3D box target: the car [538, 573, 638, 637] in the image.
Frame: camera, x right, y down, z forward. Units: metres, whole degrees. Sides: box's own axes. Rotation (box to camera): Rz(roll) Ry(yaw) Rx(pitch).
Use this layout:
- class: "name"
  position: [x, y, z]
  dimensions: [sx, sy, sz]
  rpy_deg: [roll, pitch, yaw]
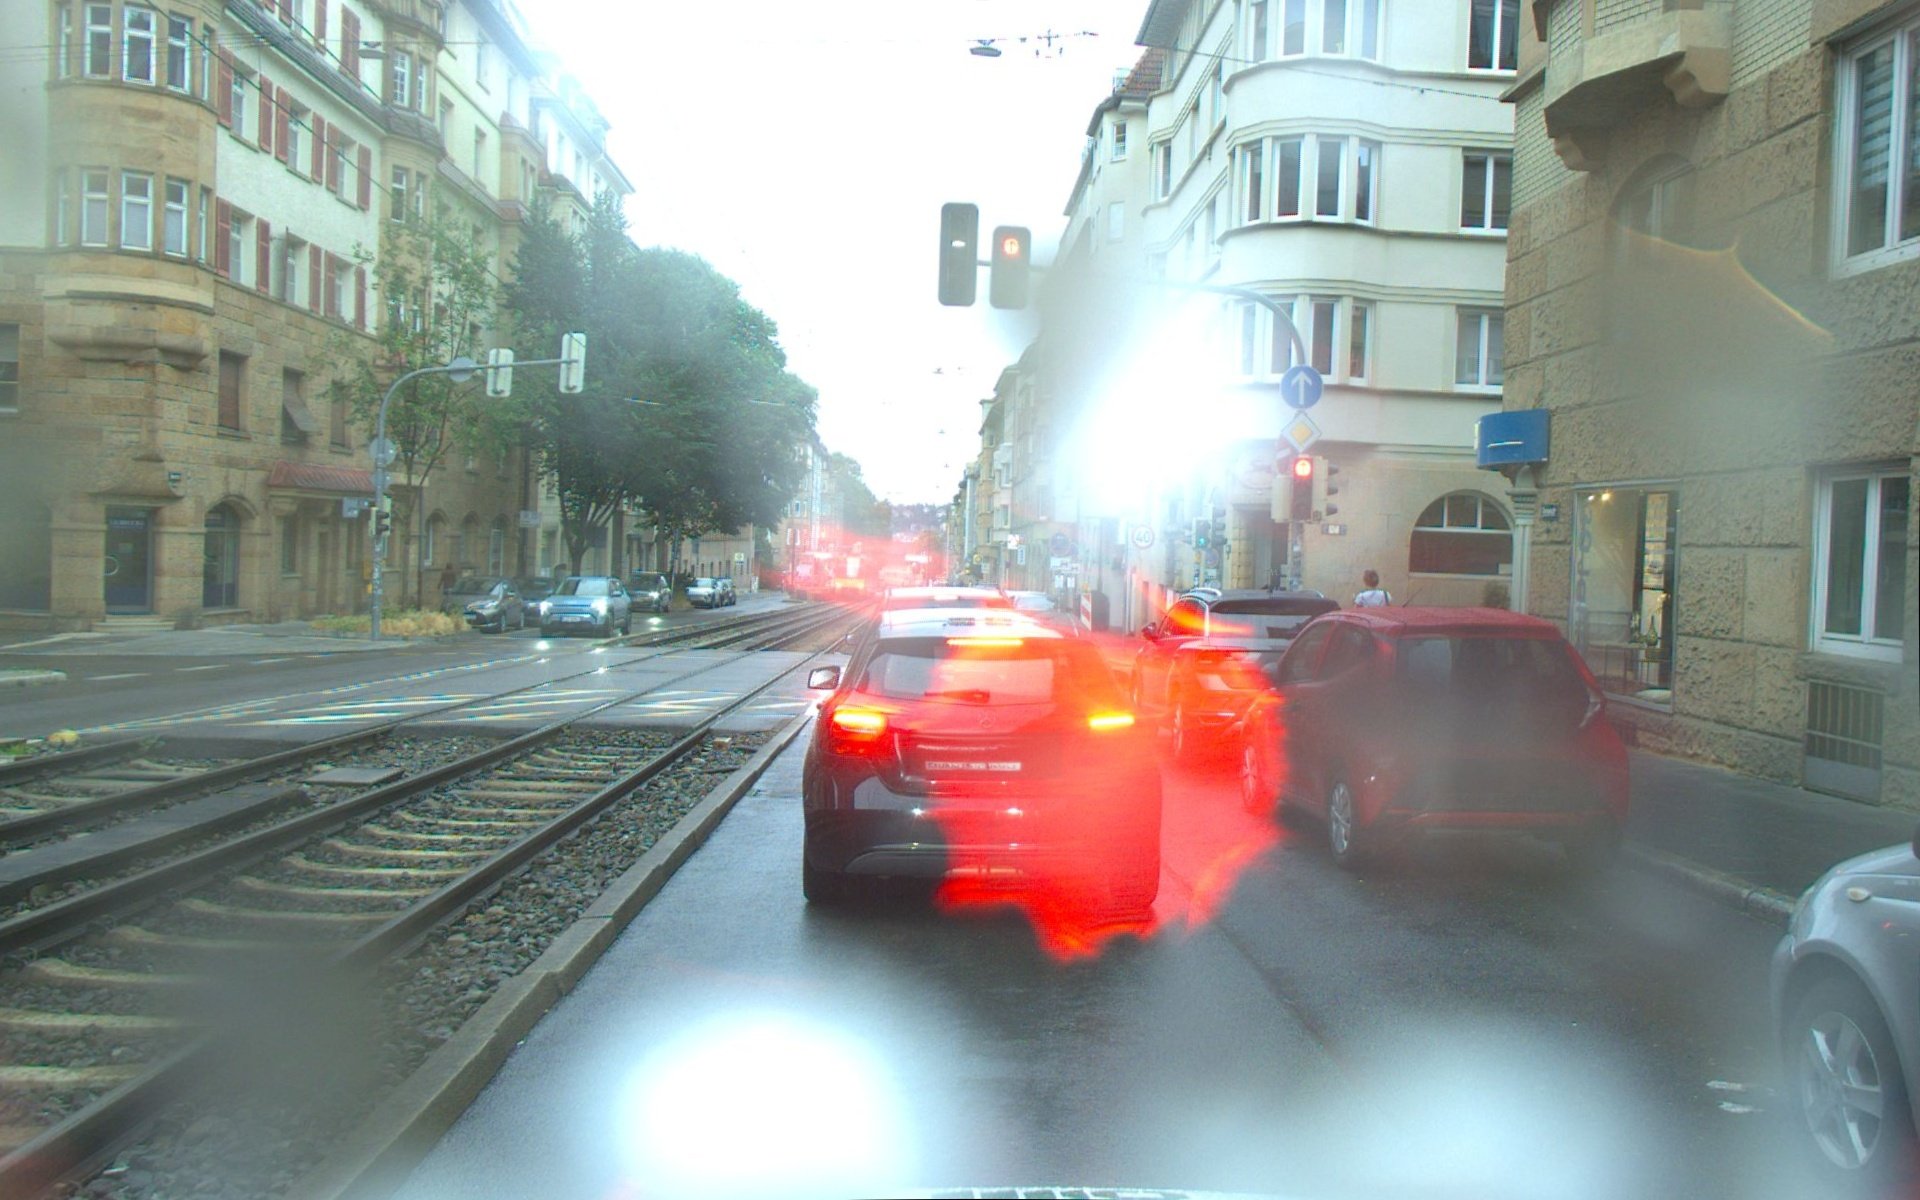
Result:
- class: "car"
  position: [-10.046, 0.143, 44.927]
  dimensions: [1.860, 1.615, 3.972]
  rpy_deg: [1, 0, -1]

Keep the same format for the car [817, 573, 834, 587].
- class: "car"
  position: [-12.218, -1.823, 150.643]
  dimensions: [1.349, 1.271, 3.296]
  rpy_deg: [1, 0, -2]

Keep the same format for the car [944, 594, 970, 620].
- class: "car"
  position: [-0.180, 0.425, 109.172]
  dimensions: [1.512, 1.664, 3.687]
  rpy_deg: [1, 0, 2]

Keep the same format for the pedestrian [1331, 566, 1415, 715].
- class: "pedestrian"
  position: [5.076, 0.485, 20.380]
  dimensions: [0.726, 1.778, 1.111]
  rpy_deg: [1, -1, -1]

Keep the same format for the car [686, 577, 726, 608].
- class: "car"
  position: [-13.653, -0.395, 88.966]
  dimensions: [1.557, 1.608, 3.917]
  rpy_deg: [1, 0, -1]

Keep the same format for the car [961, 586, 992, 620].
- class: "car"
  position: [0.726, 0.120, 73.606]
  dimensions: [1.268, 1.467, 2.928]
  rpy_deg: [1, 0, -1]

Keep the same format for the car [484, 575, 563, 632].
- class: "car"
  position: [-13.274, 0.107, 50.522]
  dimensions: [1.683, 1.639, 3.914]
  rpy_deg: [1, 0, -5]

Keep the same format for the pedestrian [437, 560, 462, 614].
- class: "pedestrian"
  position: [-16.099, -0.409, 52.202]
  dimensions: [0.619, 1.702, 0.701]
  rpy_deg: [1, -1, -9]

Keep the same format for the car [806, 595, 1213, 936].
- class: "car"
  position: [0.192, 0.738, 9.451]
  dimensions: [1.792, 1.483, 4.103]
  rpy_deg: [1, 0, -1]

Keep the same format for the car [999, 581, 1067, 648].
- class: "car"
  position: [1.840, 0.346, 42.666]
  dimensions: [1.513, 1.618, 3.547]
  rpy_deg: [1, 0, -1]

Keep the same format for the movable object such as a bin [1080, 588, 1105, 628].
- class: "movable object such as a bin"
  position: [4.766, 0.293, 59.643]
  dimensions: [0.859, 1.413, 0.983]
  rpy_deg: [1, -1, 3]

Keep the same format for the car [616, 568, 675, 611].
- class: "car"
  position: [-13.559, -0.419, 71.505]
  dimensions: [1.837, 1.767, 3.917]
  rpy_deg: [1, 0, -1]

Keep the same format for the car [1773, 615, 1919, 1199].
- class: "car"
  position: [3.124, 0.794, 3.101]
  dimensions: [1.581, 1.493, 3.312]
  rpy_deg: [0, 0, 0]

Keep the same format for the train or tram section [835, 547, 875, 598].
- class: "train or tram section"
  position: [-8.681, -2.216, 137.526]
  dimensions: [2.726, 3.928, 10.427]
  rpy_deg: [1, 0, -1]

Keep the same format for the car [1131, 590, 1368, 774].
- class: "car"
  position: [2.632, 0.680, 15.796]
  dimensions: [1.513, 1.512, 3.829]
  rpy_deg: [1, 0, -1]

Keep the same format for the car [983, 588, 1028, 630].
- class: "car"
  position: [1.666, 0.317, 61.548]
  dimensions: [1.513, 1.512, 3.547]
  rpy_deg: [1, 0, -1]

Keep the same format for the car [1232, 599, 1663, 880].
- class: "car"
  position: [2.907, 0.753, 10.560]
  dimensions: [1.609, 1.473, 3.297]
  rpy_deg: [1, 0, -3]

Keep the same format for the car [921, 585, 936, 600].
- class: "car"
  position: [-4.075, -0.918, 216.603]
  dimensions: [1.953, 1.909, 3.999]
  rpy_deg: [1, 0, -1]

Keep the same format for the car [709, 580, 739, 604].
- class: "car"
  position: [-14.021, -0.453, 98.371]
  dimensions: [1.419, 1.354, 3.270]
  rpy_deg: [1, 0, -3]

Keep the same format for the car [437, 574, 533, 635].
- class: "car"
  position: [-13.010, 0.127, 45.496]
  dimensions: [1.718, 1.579, 4.032]
  rpy_deg: [1, 0, -4]

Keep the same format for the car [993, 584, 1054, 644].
- class: "car"
  position: [1.771, 0.372, 47.140]
  dimensions: [1.513, 1.618, 3.547]
  rpy_deg: [1, 0, -1]

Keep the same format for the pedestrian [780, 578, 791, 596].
- class: "pedestrian"
  position: [-18.835, -1.408, 178.399]
  dimensions: [1.031, 1.992, 1.043]
  rpy_deg: [2, 0, 0]

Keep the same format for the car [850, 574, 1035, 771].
- class: "car"
  position: [-0.175, 0.621, 15.834]
  dimensions: [1.533, 1.637, 3.813]
  rpy_deg: [1, 0, -1]
